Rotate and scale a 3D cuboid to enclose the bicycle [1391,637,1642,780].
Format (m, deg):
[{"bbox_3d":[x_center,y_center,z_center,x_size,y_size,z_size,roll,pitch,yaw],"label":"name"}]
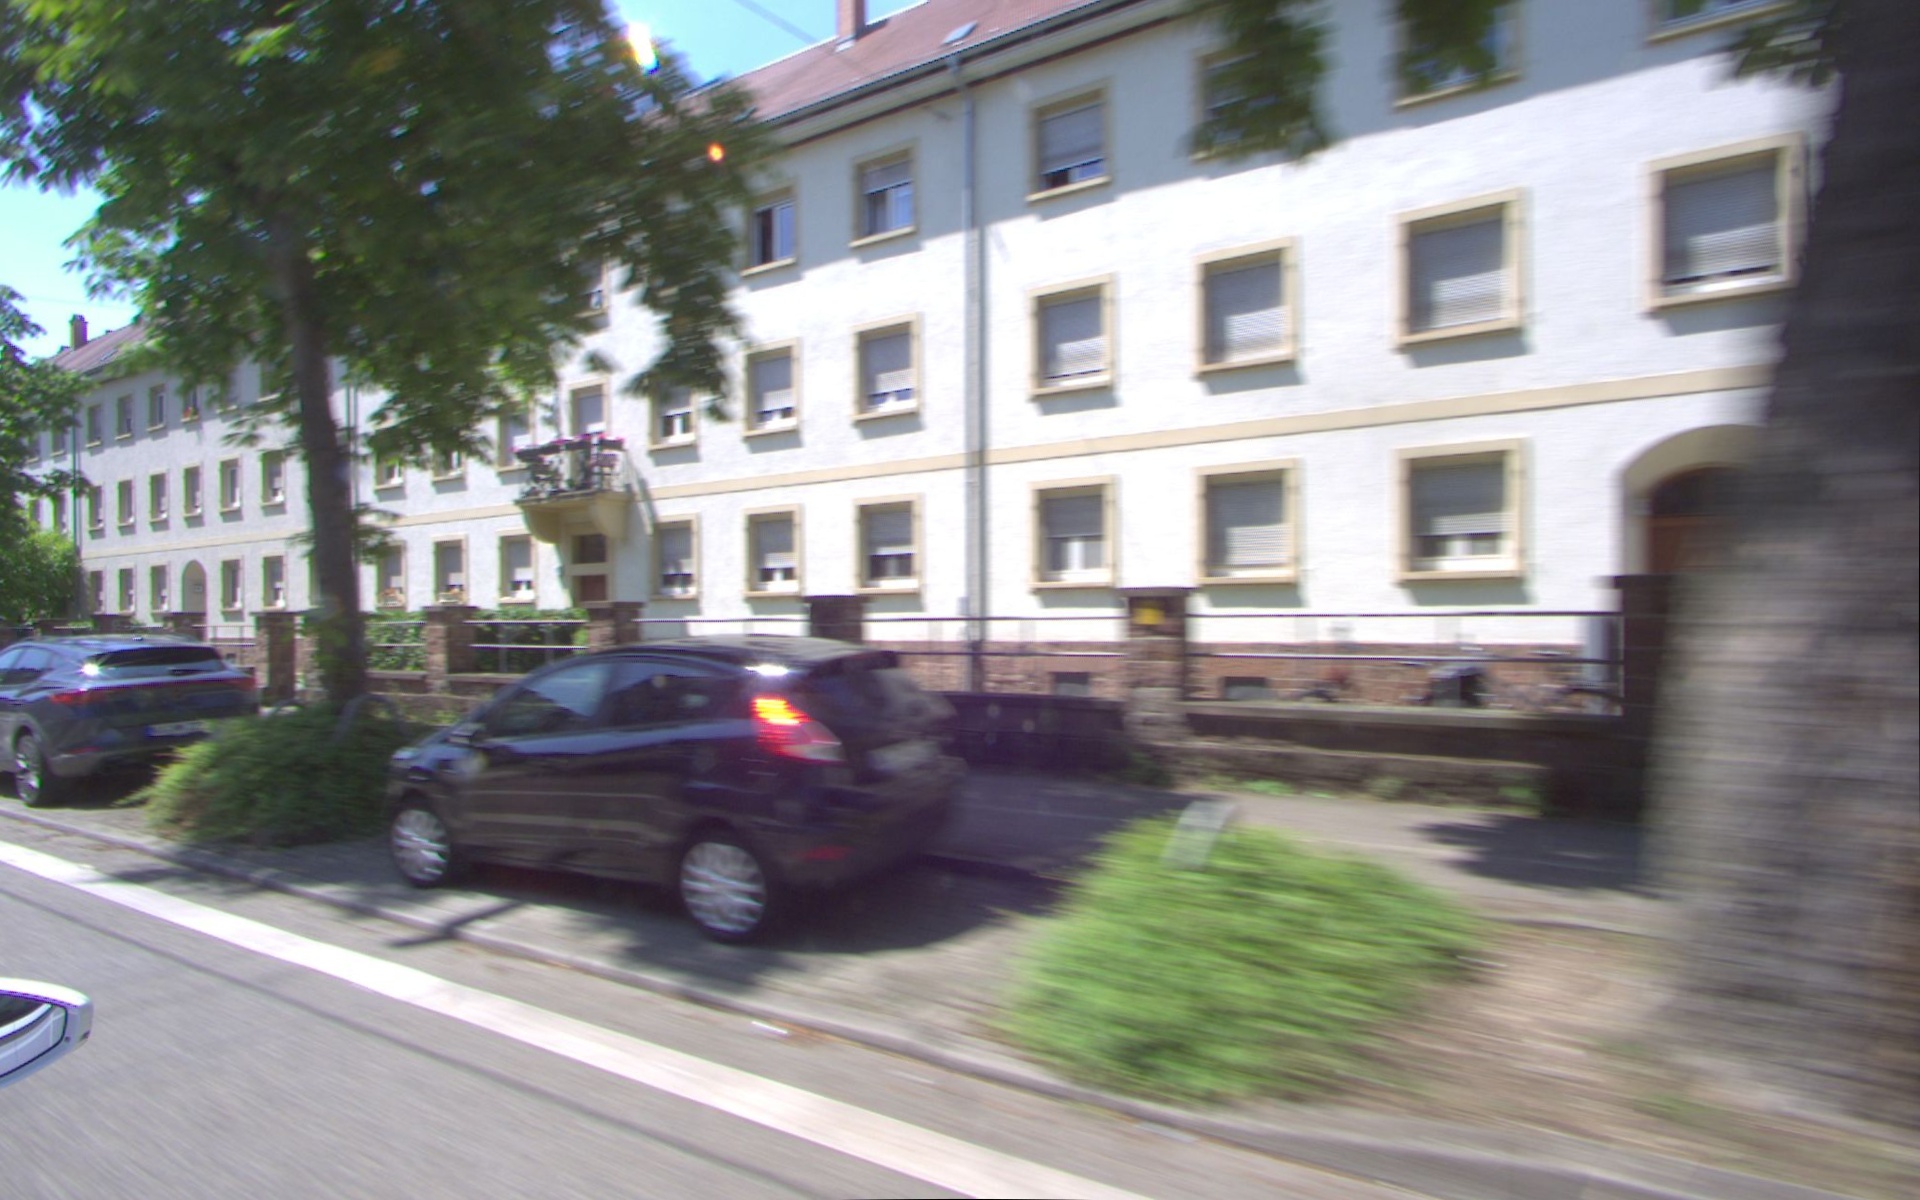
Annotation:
[{"bbox_3d":[5.051,0.938,9.163,1.942,1.141,0.595,-1,3,34],"label":"bicycle"}]

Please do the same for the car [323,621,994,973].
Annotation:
[{"bbox_3d":[-1.917,0.906,6.089,3.939,1.535,1.655,-1,-1,29],"label":"car"}]

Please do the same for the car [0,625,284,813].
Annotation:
[{"bbox_3d":[-9.117,1.062,10.420,4.387,1.572,1.730,-1,0,30],"label":"car"}]

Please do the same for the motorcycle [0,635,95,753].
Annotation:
[{"bbox_3d":[-12.219,1.177,12.614,0.660,1.452,1.914,0,-1,23],"label":"motorcycle"}]

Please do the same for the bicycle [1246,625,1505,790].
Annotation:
[{"bbox_3d":[3.458,0.840,8.417,1.941,1.226,0.595,-1,2,32],"label":"bicycle"}]
